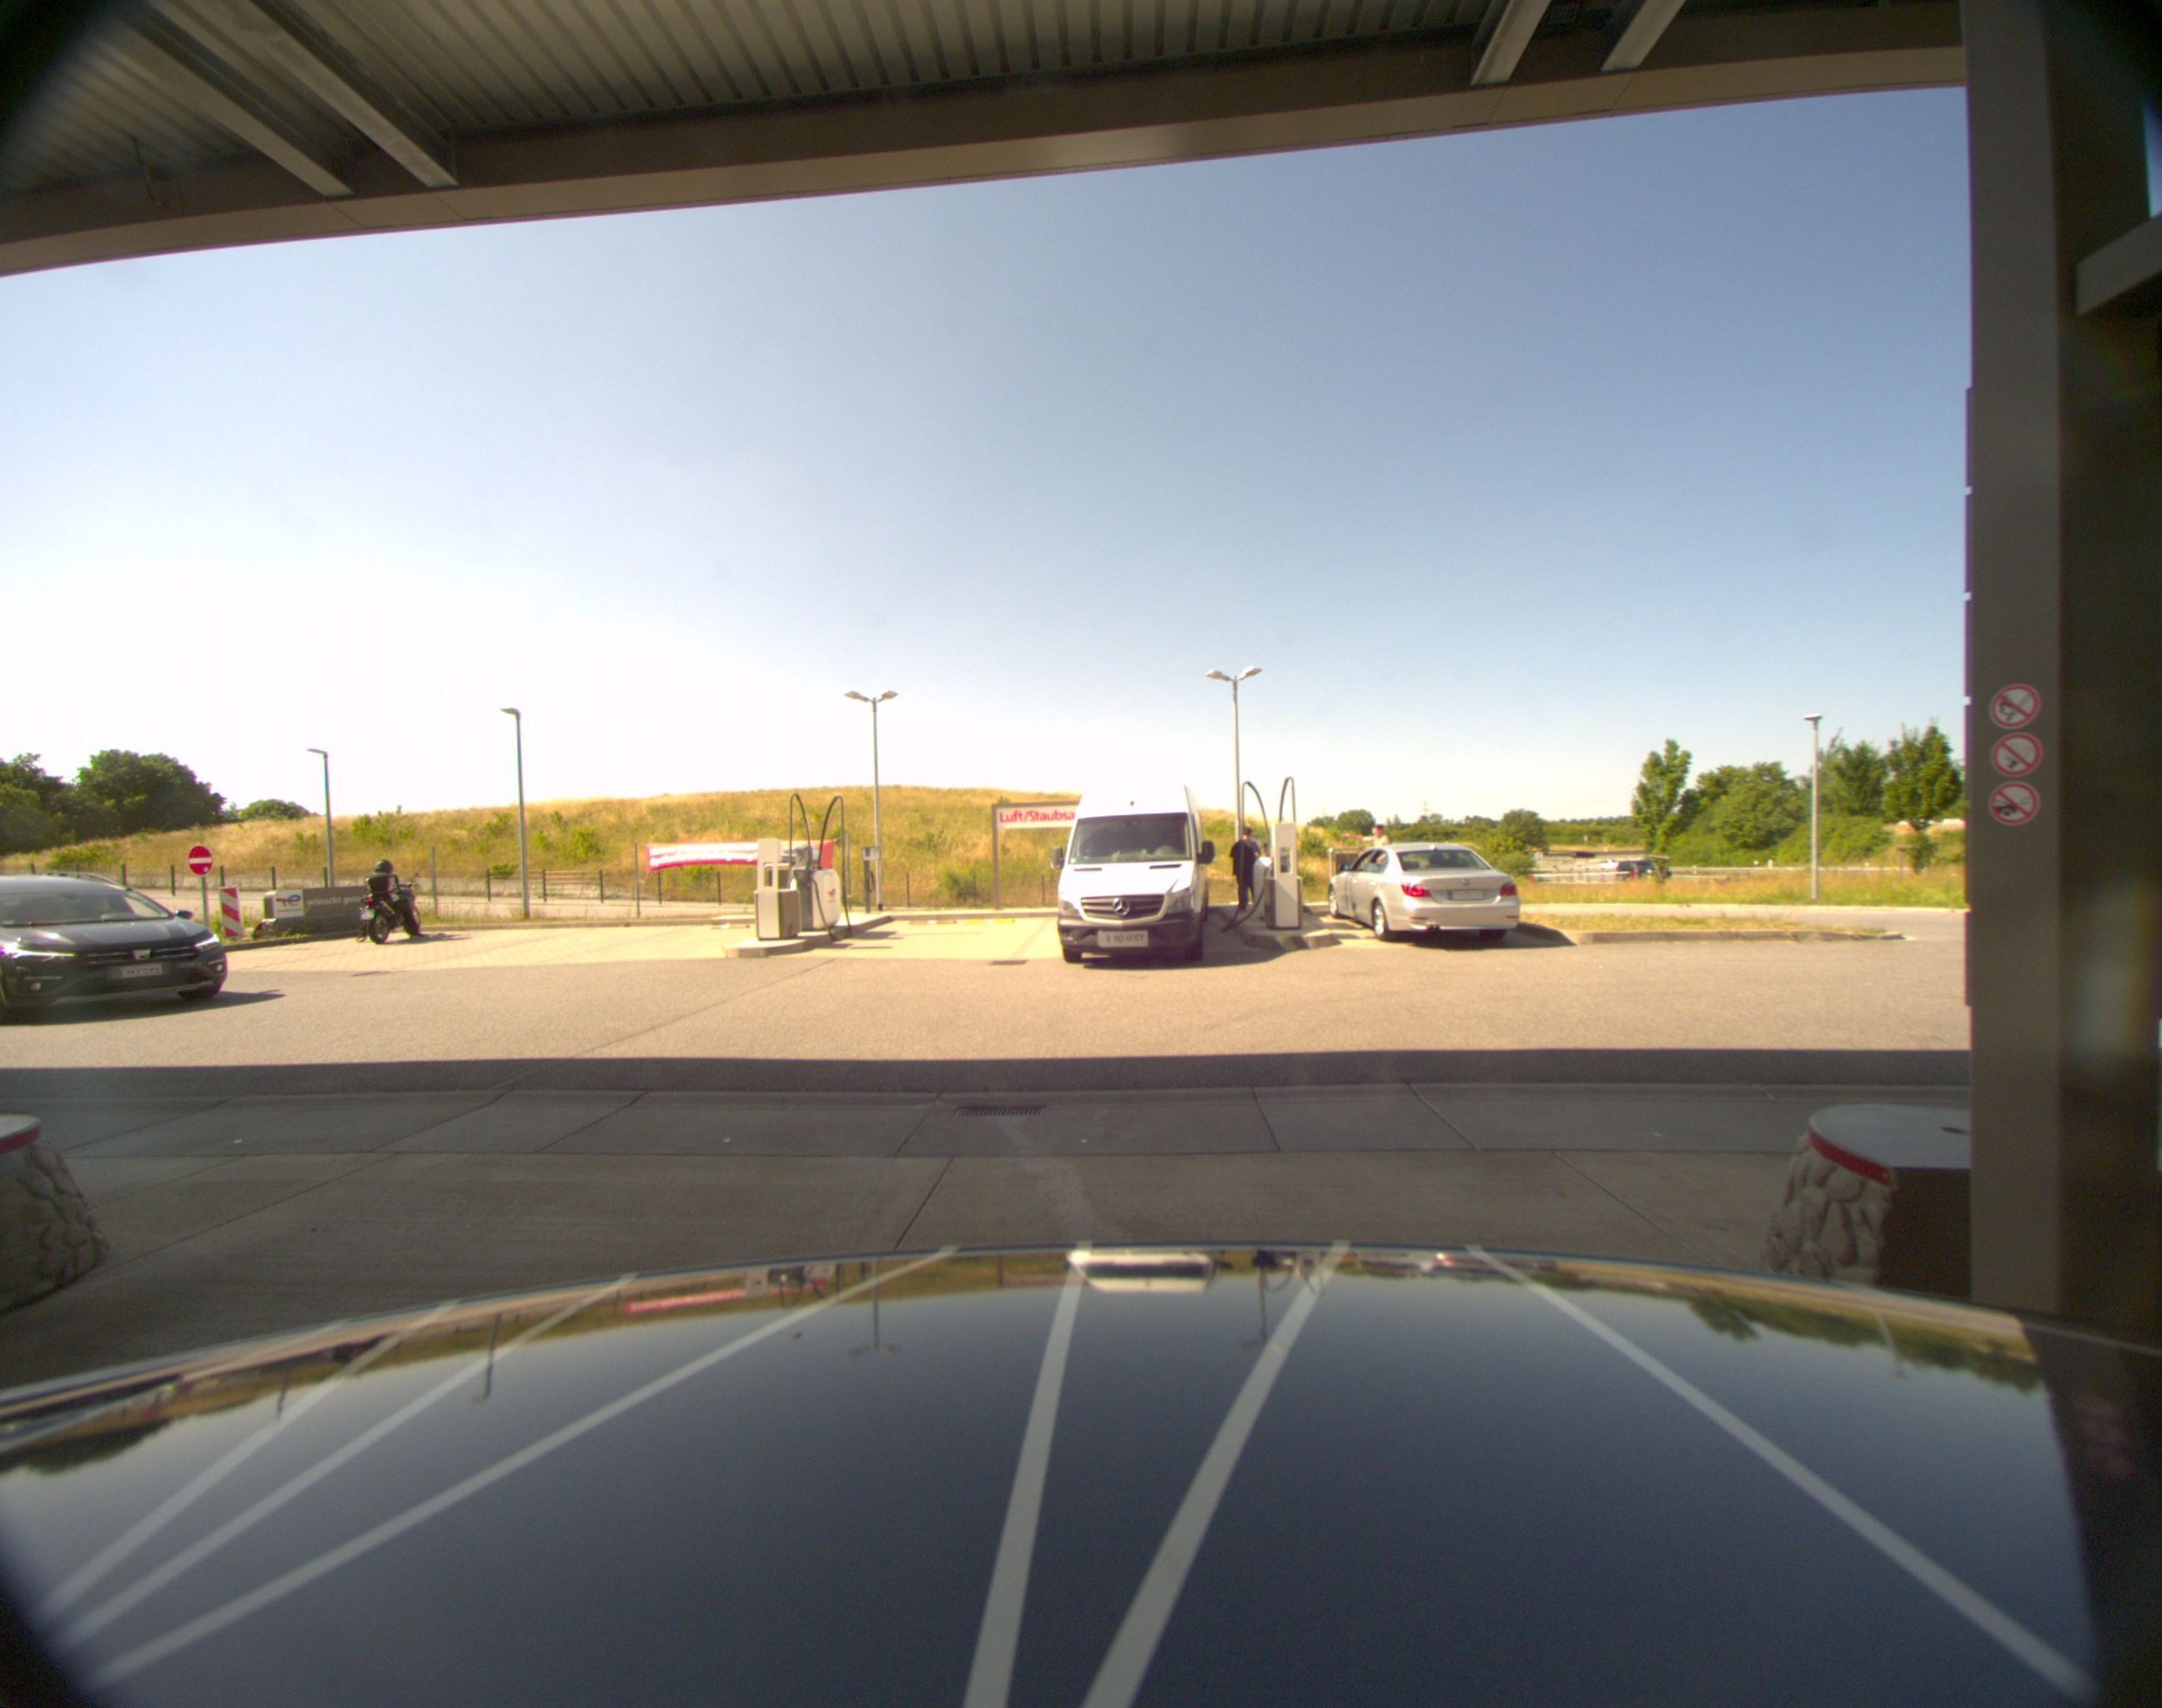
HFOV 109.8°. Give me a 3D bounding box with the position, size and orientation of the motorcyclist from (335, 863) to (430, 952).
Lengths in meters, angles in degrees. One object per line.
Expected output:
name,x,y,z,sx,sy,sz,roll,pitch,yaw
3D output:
motorcyclist,-14.230,1.054,15.522,1.035,1.678,1.097,-2,1,-20

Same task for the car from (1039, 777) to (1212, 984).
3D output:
car,1.136,0.185,13.001,1.997,2.557,7.033,-1,3,11

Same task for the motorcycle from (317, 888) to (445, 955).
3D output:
motorcycle,-14.231,1.327,15.565,1.047,1.099,2.411,-1,1,-20

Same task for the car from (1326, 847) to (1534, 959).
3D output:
car,5.454,0.656,12.533,1.791,1.420,4.322,-1,2,5

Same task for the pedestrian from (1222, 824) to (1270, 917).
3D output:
pedestrian,3.217,0.310,14.770,0.707,1.759,0.846,-1,1,26

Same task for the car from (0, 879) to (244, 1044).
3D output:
car,-12.959,1.187,9.445,4.622,1.635,1.746,-1,1,20

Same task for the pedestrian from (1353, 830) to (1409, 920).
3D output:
pedestrian,6.047,0.410,15.309,0.847,1.739,0.707,-2,1,-40
